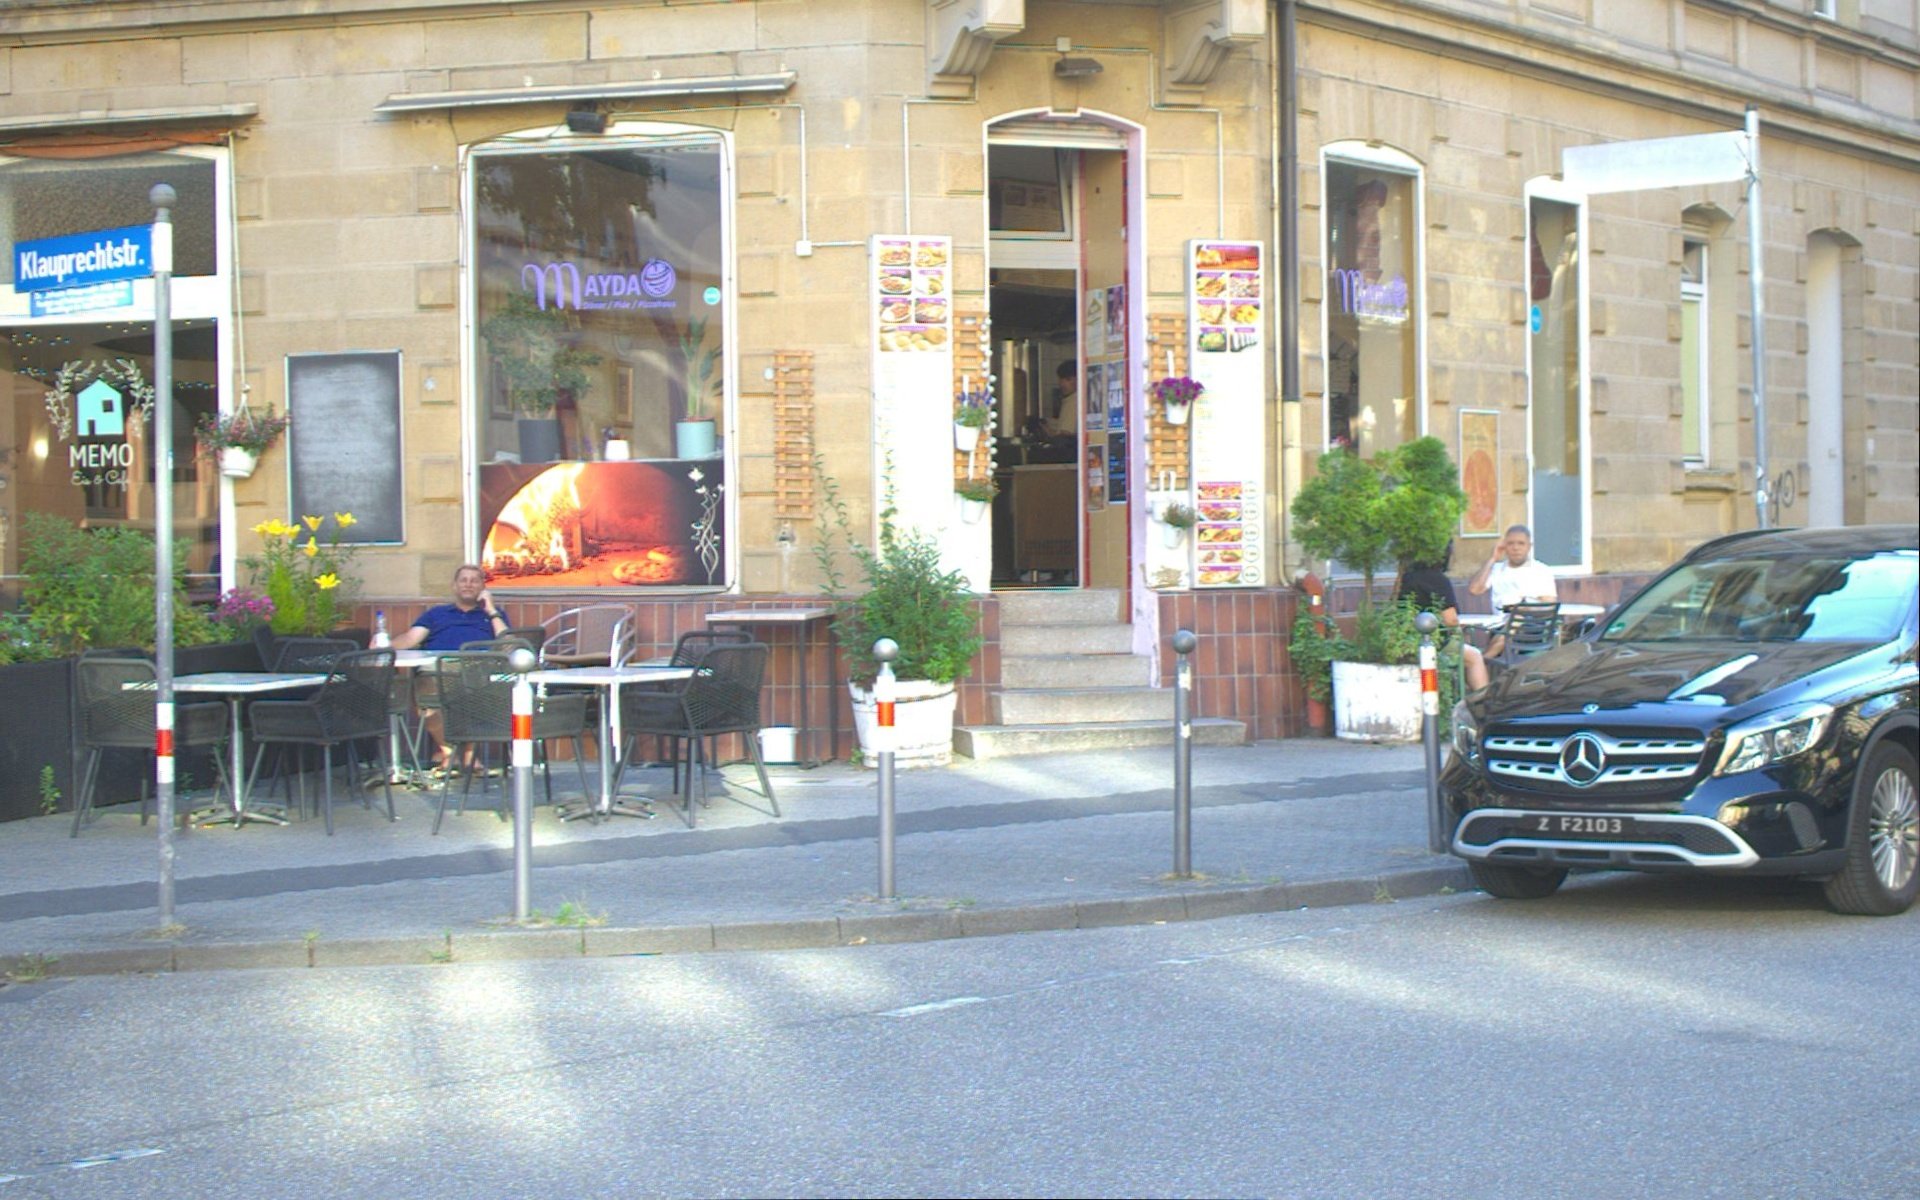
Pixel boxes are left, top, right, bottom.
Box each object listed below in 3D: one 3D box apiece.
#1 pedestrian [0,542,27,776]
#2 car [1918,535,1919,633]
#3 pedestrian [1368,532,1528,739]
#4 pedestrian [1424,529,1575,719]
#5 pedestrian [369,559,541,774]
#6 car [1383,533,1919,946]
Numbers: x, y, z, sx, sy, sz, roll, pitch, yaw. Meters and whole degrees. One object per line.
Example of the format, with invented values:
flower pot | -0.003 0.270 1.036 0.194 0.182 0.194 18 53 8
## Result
pedestrian | -5.837 0.349 20.208 0.481 1.362 0.433 0 2 26
car | 7.020 0.328 18.683 1.762 1.447 4.540 -1 1 40
pedestrian | 3.052 0.210 21.476 0.726 1.254 0.755 0 1 32
pedestrian | 3.541 0.147 22.536 0.726 1.209 0.755 0 1 32
pedestrian | -2.913 0.375 19.890 0.726 1.209 0.756 0 1 15
car | 3.655 0.468 14.587 1.762 1.482 4.130 -1 1 39
